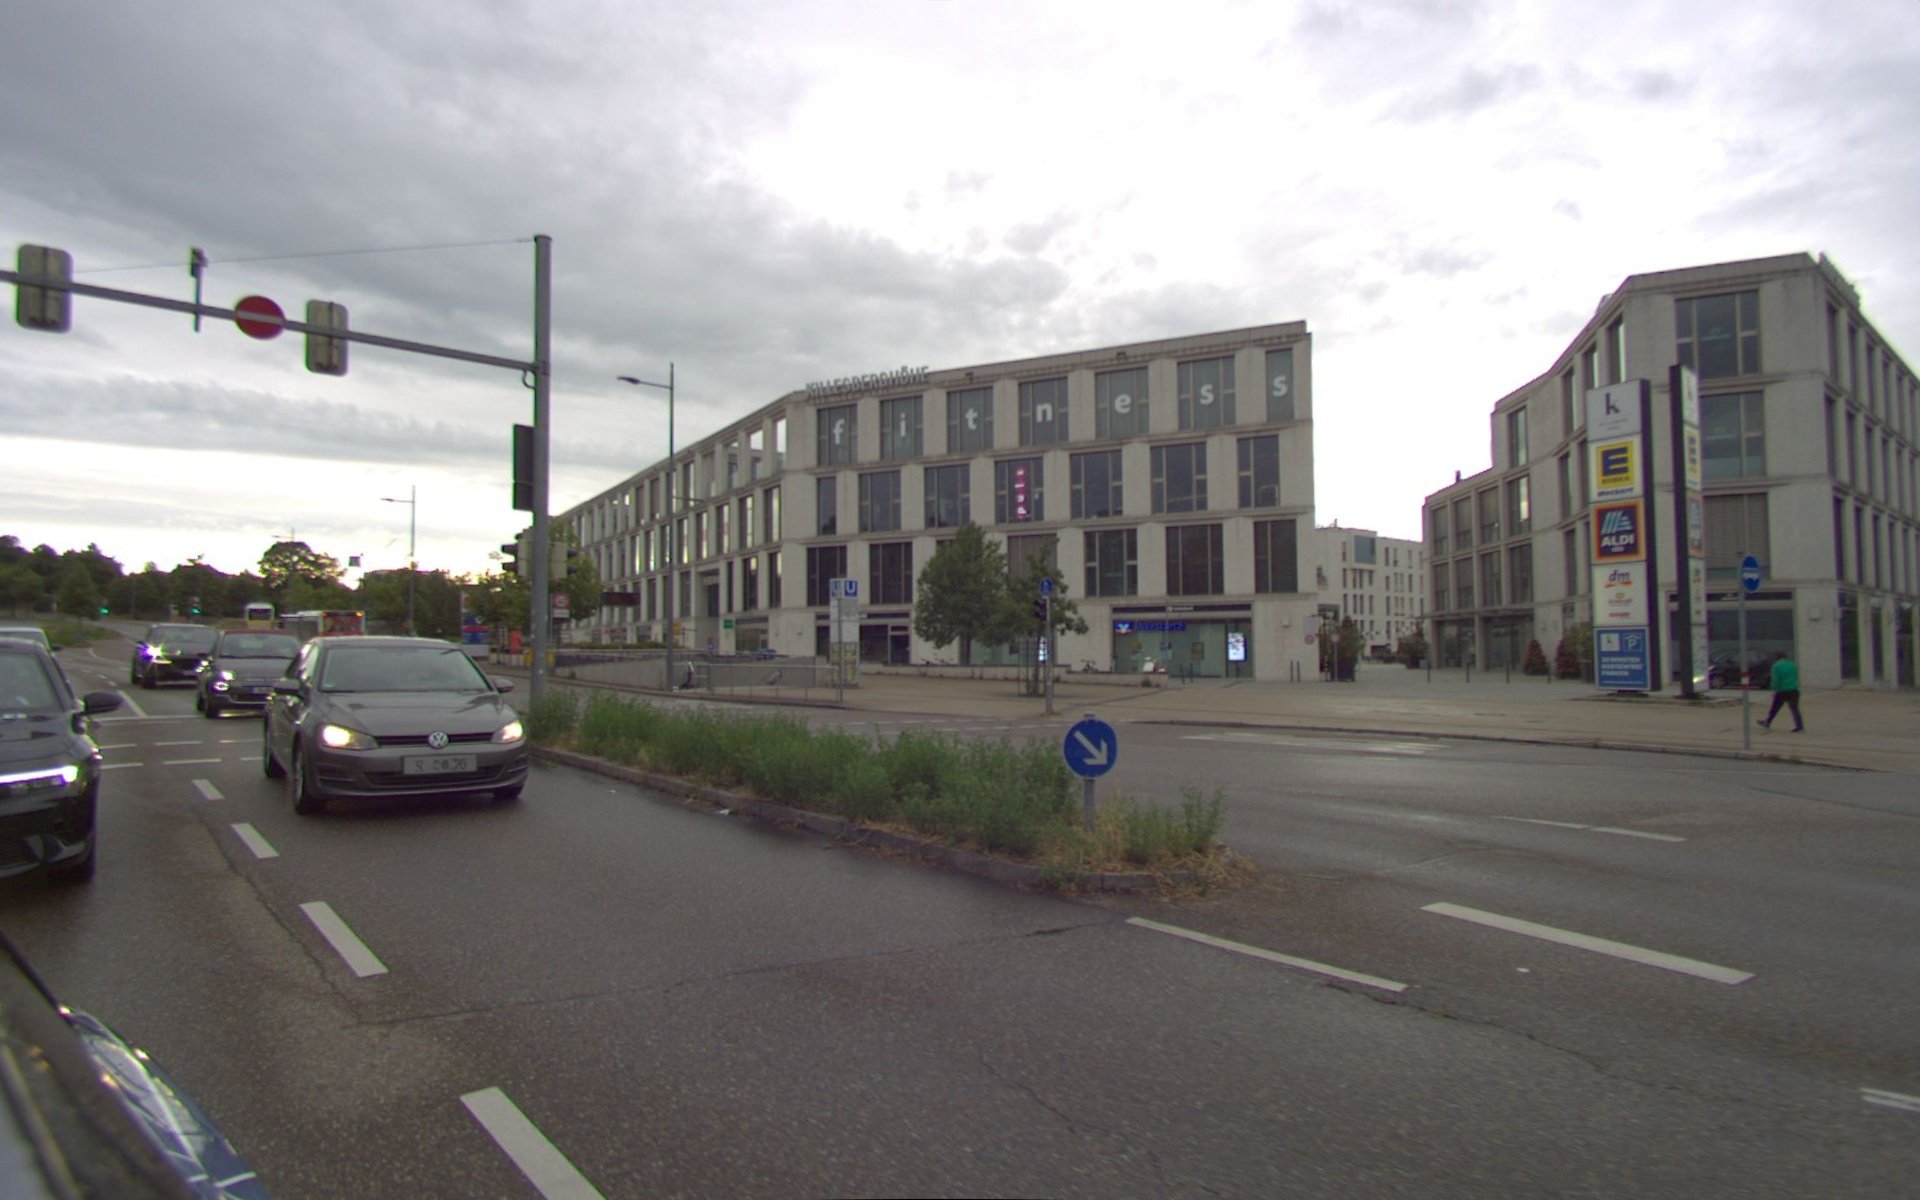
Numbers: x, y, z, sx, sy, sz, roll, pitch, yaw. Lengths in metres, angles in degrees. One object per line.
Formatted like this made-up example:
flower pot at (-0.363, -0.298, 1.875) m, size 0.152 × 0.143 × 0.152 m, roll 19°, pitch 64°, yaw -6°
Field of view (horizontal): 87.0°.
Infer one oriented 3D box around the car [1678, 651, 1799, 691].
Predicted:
car at (29.023, 2.611, 37.839) m, size 3.277 × 1.387 × 1.554 m, roll -1°, pitch -3°, yaw 25°

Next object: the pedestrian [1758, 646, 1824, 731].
pedestrian at (17.011, 1.798, 20.725) m, size 0.740 × 1.699 × 0.682 m, roll 1°, pitch -2°, yaw -10°

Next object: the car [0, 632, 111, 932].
car at (-6.728, 0.960, 6.400) m, size 1.778 × 1.441 × 4.523 m, roll 1°, pitch -1°, yaw -44°

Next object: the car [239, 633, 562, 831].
car at (-5.446, 1.072, 9.592) m, size 1.876 × 1.450 × 4.006 m, roll 4°, pitch -4°, yaw -40°

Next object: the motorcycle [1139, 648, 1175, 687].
motorcycle at (7.485, 2.546, 38.400) m, size 0.528 × 1.413 × 1.730 m, roll -2°, pitch -3°, yaw 43°

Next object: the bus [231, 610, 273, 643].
bus at (-78.294, 2.954, 111.881) m, size 2.774 × 3.543 × 9.155 m, roll 3°, pitch -3°, yaw -41°

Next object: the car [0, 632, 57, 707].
car at (-20.698, 1.459, 21.899) m, size 1.620 × 1.532 × 3.584 m, roll 3°, pitch -3°, yaw -41°

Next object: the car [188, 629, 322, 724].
car at (-12.793, 1.314, 18.275) m, size 1.645 × 1.541 × 3.663 m, roll 3°, pitch -3°, yaw -39°

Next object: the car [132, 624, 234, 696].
car at (-20.952, 1.561, 27.244) m, size 1.877 × 1.785 × 4.005 m, roll 3°, pitch -3°, yaw -41°

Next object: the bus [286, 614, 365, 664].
bus at (-41.617, 2.551, 66.196) m, size 2.836 × 3.012 × 10.021 m, roll 3°, pitch -3°, yaw -40°
